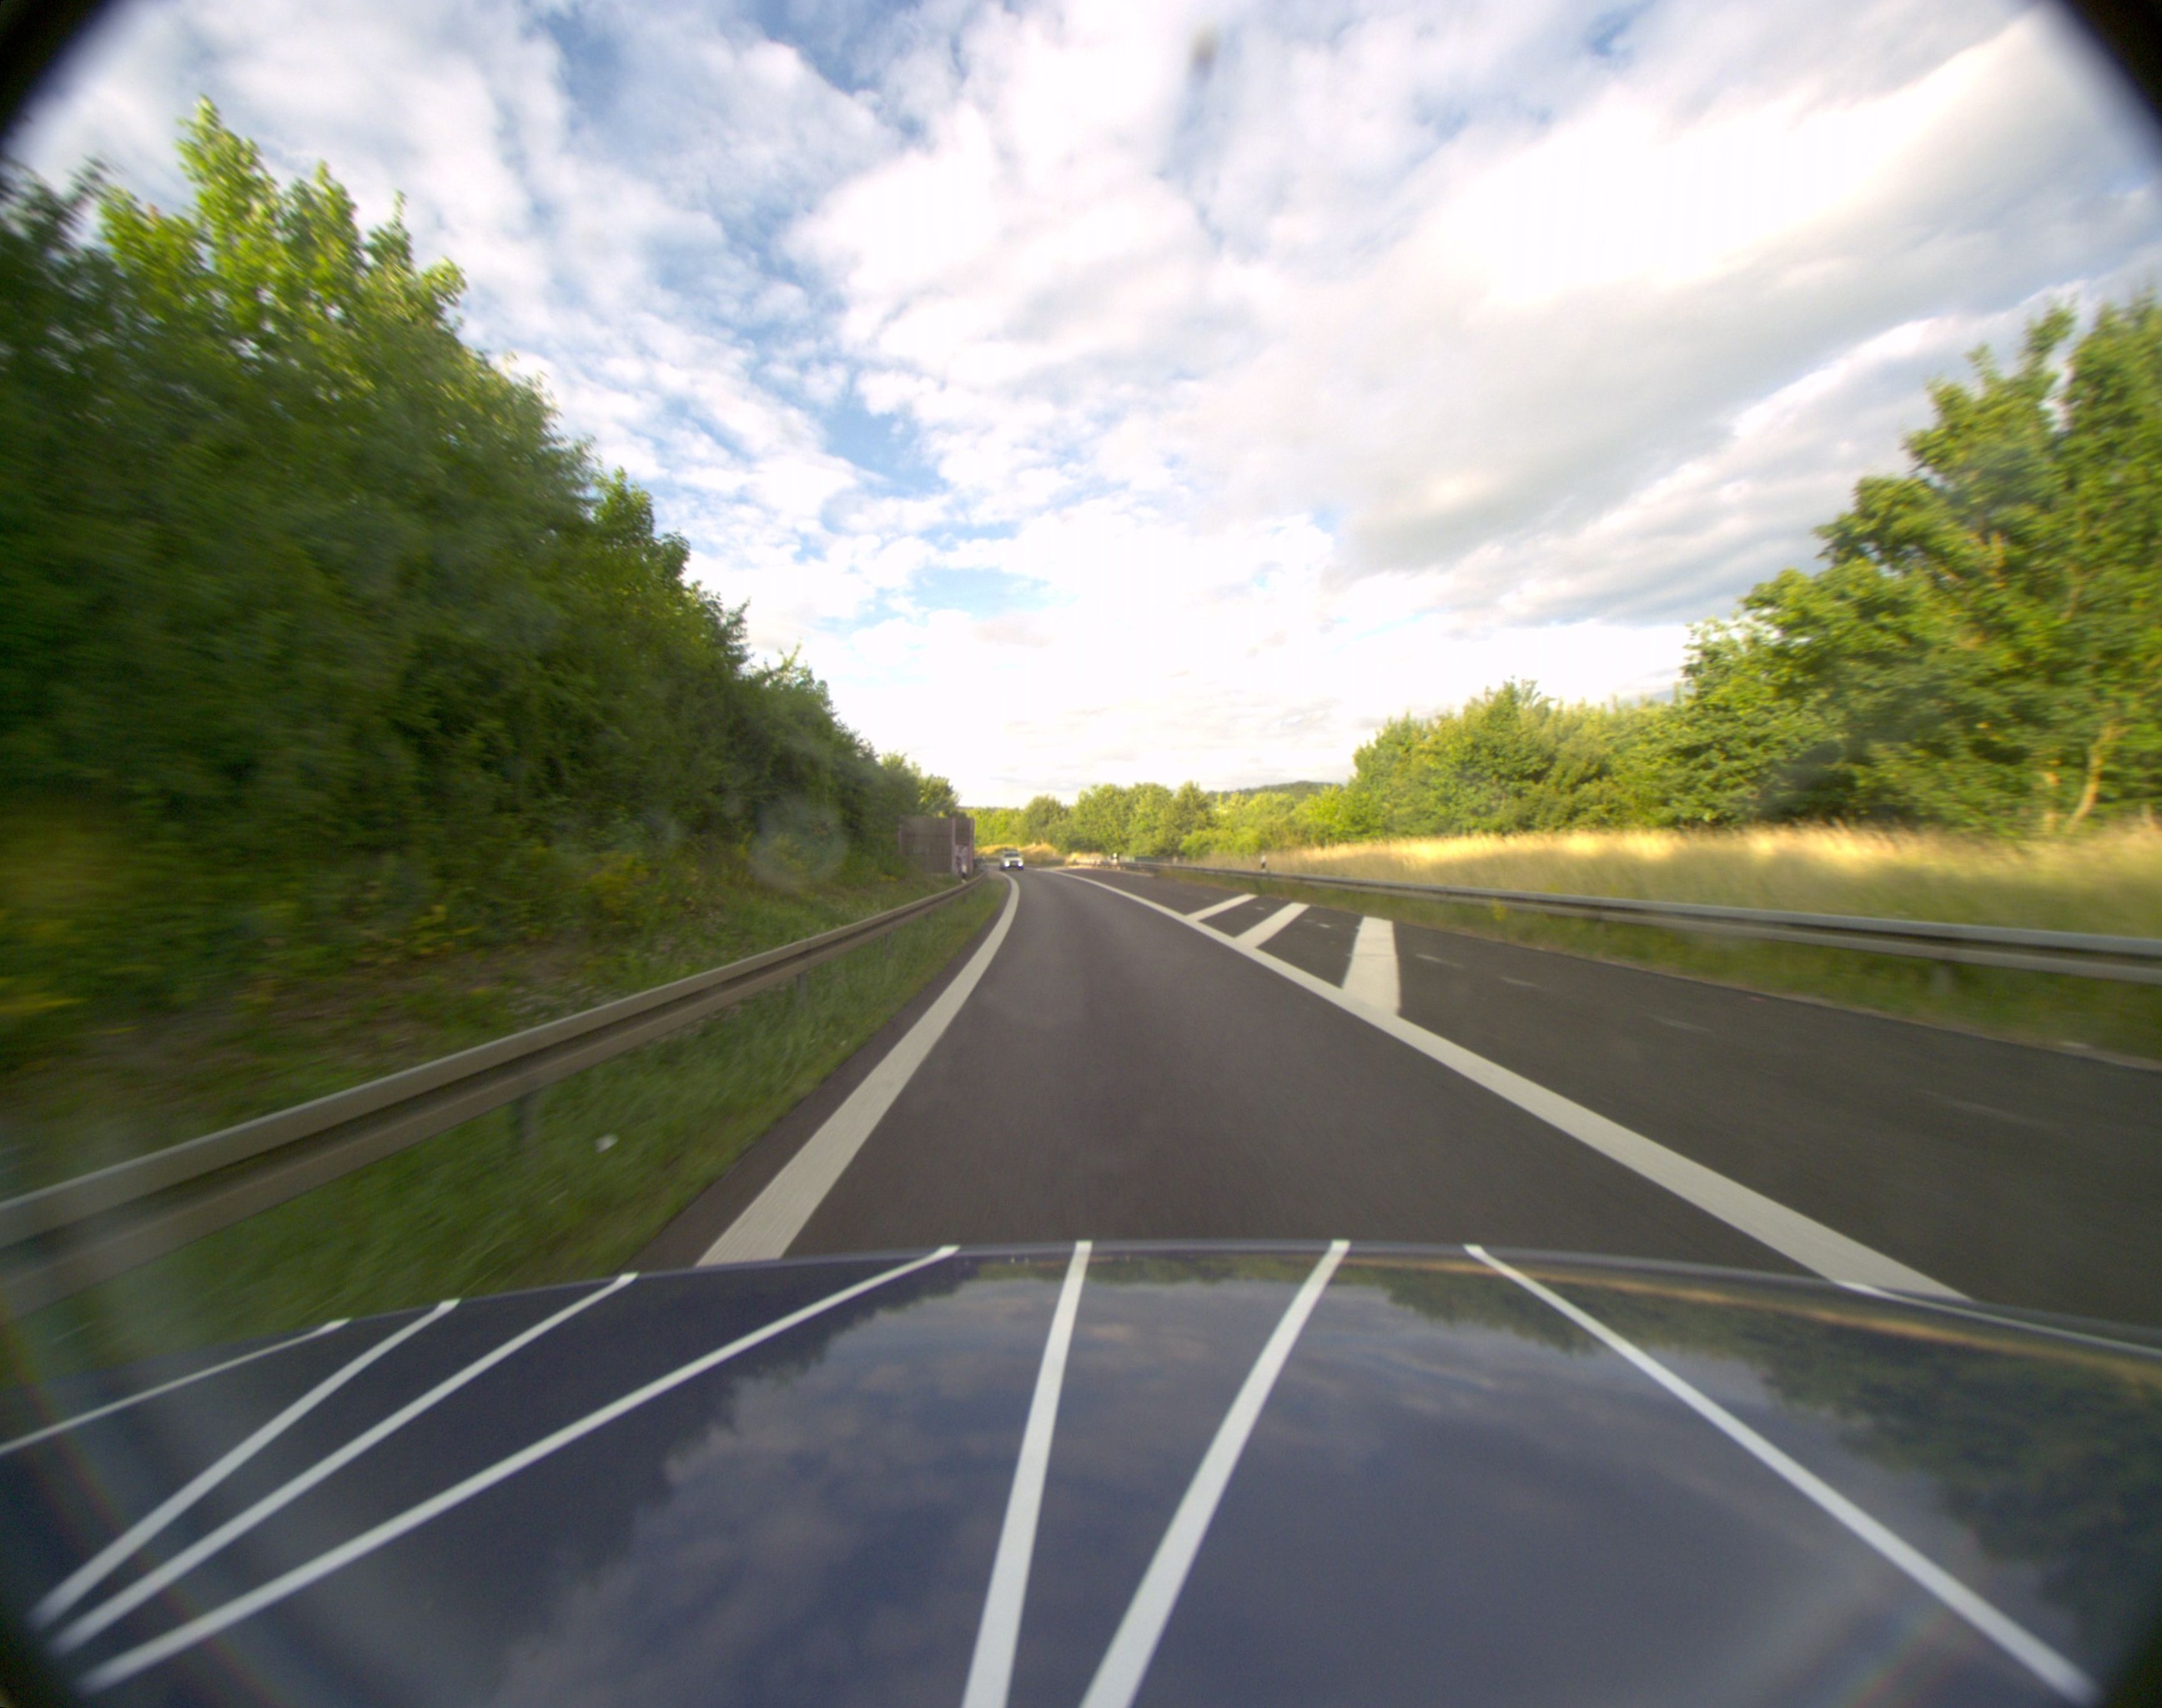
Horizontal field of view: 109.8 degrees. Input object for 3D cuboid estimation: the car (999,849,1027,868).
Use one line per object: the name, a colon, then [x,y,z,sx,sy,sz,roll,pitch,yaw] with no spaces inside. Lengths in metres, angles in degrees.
car: [-6.389,0.383,70.815,1.907,1.655,3.995,-2,0,-15]
